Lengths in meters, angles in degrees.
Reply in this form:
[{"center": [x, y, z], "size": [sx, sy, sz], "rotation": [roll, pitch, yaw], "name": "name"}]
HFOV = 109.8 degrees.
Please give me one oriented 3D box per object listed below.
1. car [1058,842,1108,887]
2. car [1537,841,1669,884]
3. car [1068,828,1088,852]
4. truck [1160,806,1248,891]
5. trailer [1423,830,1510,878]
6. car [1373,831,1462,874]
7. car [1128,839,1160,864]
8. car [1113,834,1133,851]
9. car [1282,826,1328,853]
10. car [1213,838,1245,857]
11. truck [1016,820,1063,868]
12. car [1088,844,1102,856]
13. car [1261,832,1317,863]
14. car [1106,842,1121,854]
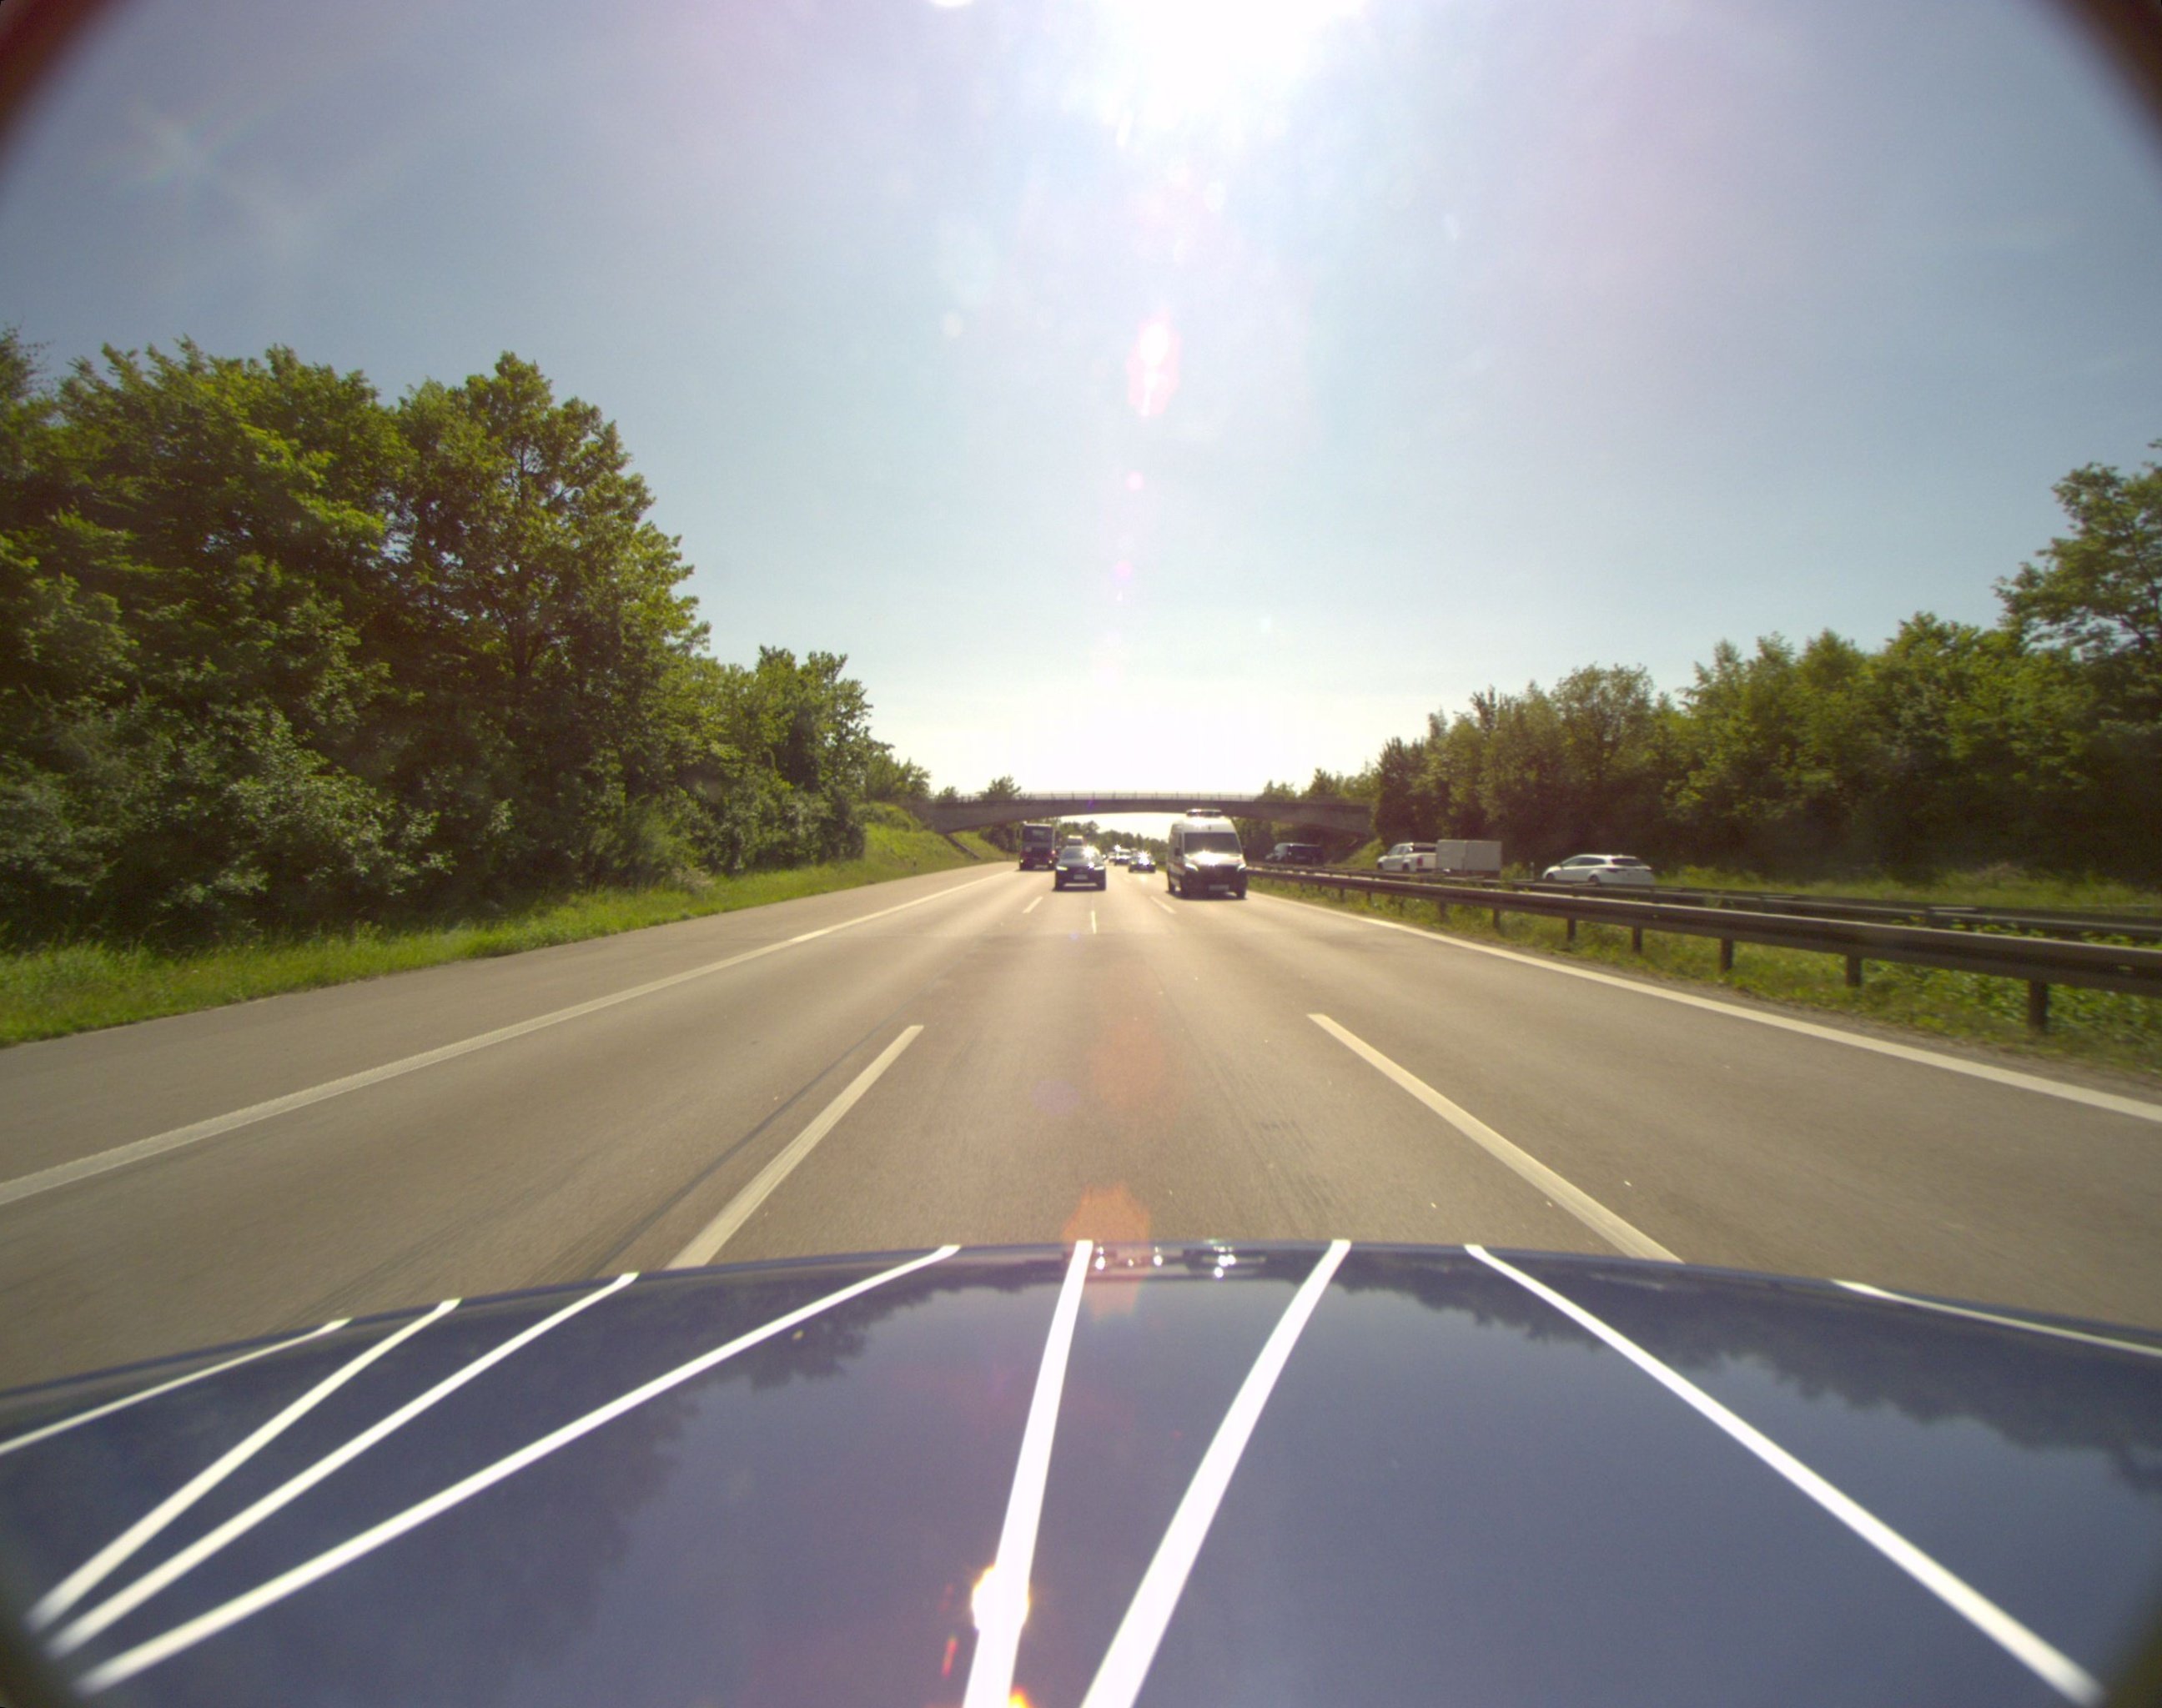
[{"center": [0.119, 0.361, 29.774], "size": [1.812, 1.648, 3.999], "rotation": [-1, 1, 1], "name": "car"}, {"center": [20.015, 0.262, 29.444], "size": [1.998, 1.434, 4.531], "rotation": [-1, 2, 0], "name": "car"}, {"center": [-0.468, -2.345, 127.720], "size": [3.202, 3.998, 8.124], "rotation": [0, 1, 1], "name": "car"}, {"center": [4.015, -0.209, 25.941], "size": [1.998, 2.528, 6.691], "rotation": [-1, 1, 1], "name": "truck"}, {"center": [15.757, -0.058, 31.255], "size": [1.624, 1.824, 3.920], "rotation": [-1, 2, 1], "name": "trailer"}, {"center": [15.706, -0.144, 35.820], "size": [1.998, 1.795, 5.124], "rotation": [-1, 2, 1], "name": "car"}, {"center": [4.447, -0.206, 54.509], "size": [1.905, 1.616, 4.239], "rotation": [-2, 1, 0], "name": "car"}, {"center": [4.406, -1.212, 79.853], "size": [1.870, 1.713, 3.979], "rotation": [-1, 2, 1], "name": "car"}, {"center": [16.840, -1.111, 57.409], "size": [1.998, 1.902, 5.195], "rotation": [0, 1, 1], "name": "car"}, {"center": [12.561, -0.618, 64.707], "size": [1.838, 1.513, 4.854], "rotation": [1, 1, 1], "name": "car"}, {"center": [-3.009, -0.786, 57.251], "size": [2.965, 3.389, 8.046], "rotation": [0, 1, 0], "name": "truck"}, {"center": [2.153, -0.627, 113.176], "size": [1.742, 1.631, 3.845], "rotation": [0, 1, 5], "name": "car"}, {"center": [12.371, -0.425, 45.491], "size": [1.911, 1.697, 5.195], "rotation": [1, 1, 1], "name": "car"}, {"center": [4.544, -0.799, 104.713], "size": [1.998, 1.540, 3.999], "rotation": [-1, 2, 3], "name": "car"}]
